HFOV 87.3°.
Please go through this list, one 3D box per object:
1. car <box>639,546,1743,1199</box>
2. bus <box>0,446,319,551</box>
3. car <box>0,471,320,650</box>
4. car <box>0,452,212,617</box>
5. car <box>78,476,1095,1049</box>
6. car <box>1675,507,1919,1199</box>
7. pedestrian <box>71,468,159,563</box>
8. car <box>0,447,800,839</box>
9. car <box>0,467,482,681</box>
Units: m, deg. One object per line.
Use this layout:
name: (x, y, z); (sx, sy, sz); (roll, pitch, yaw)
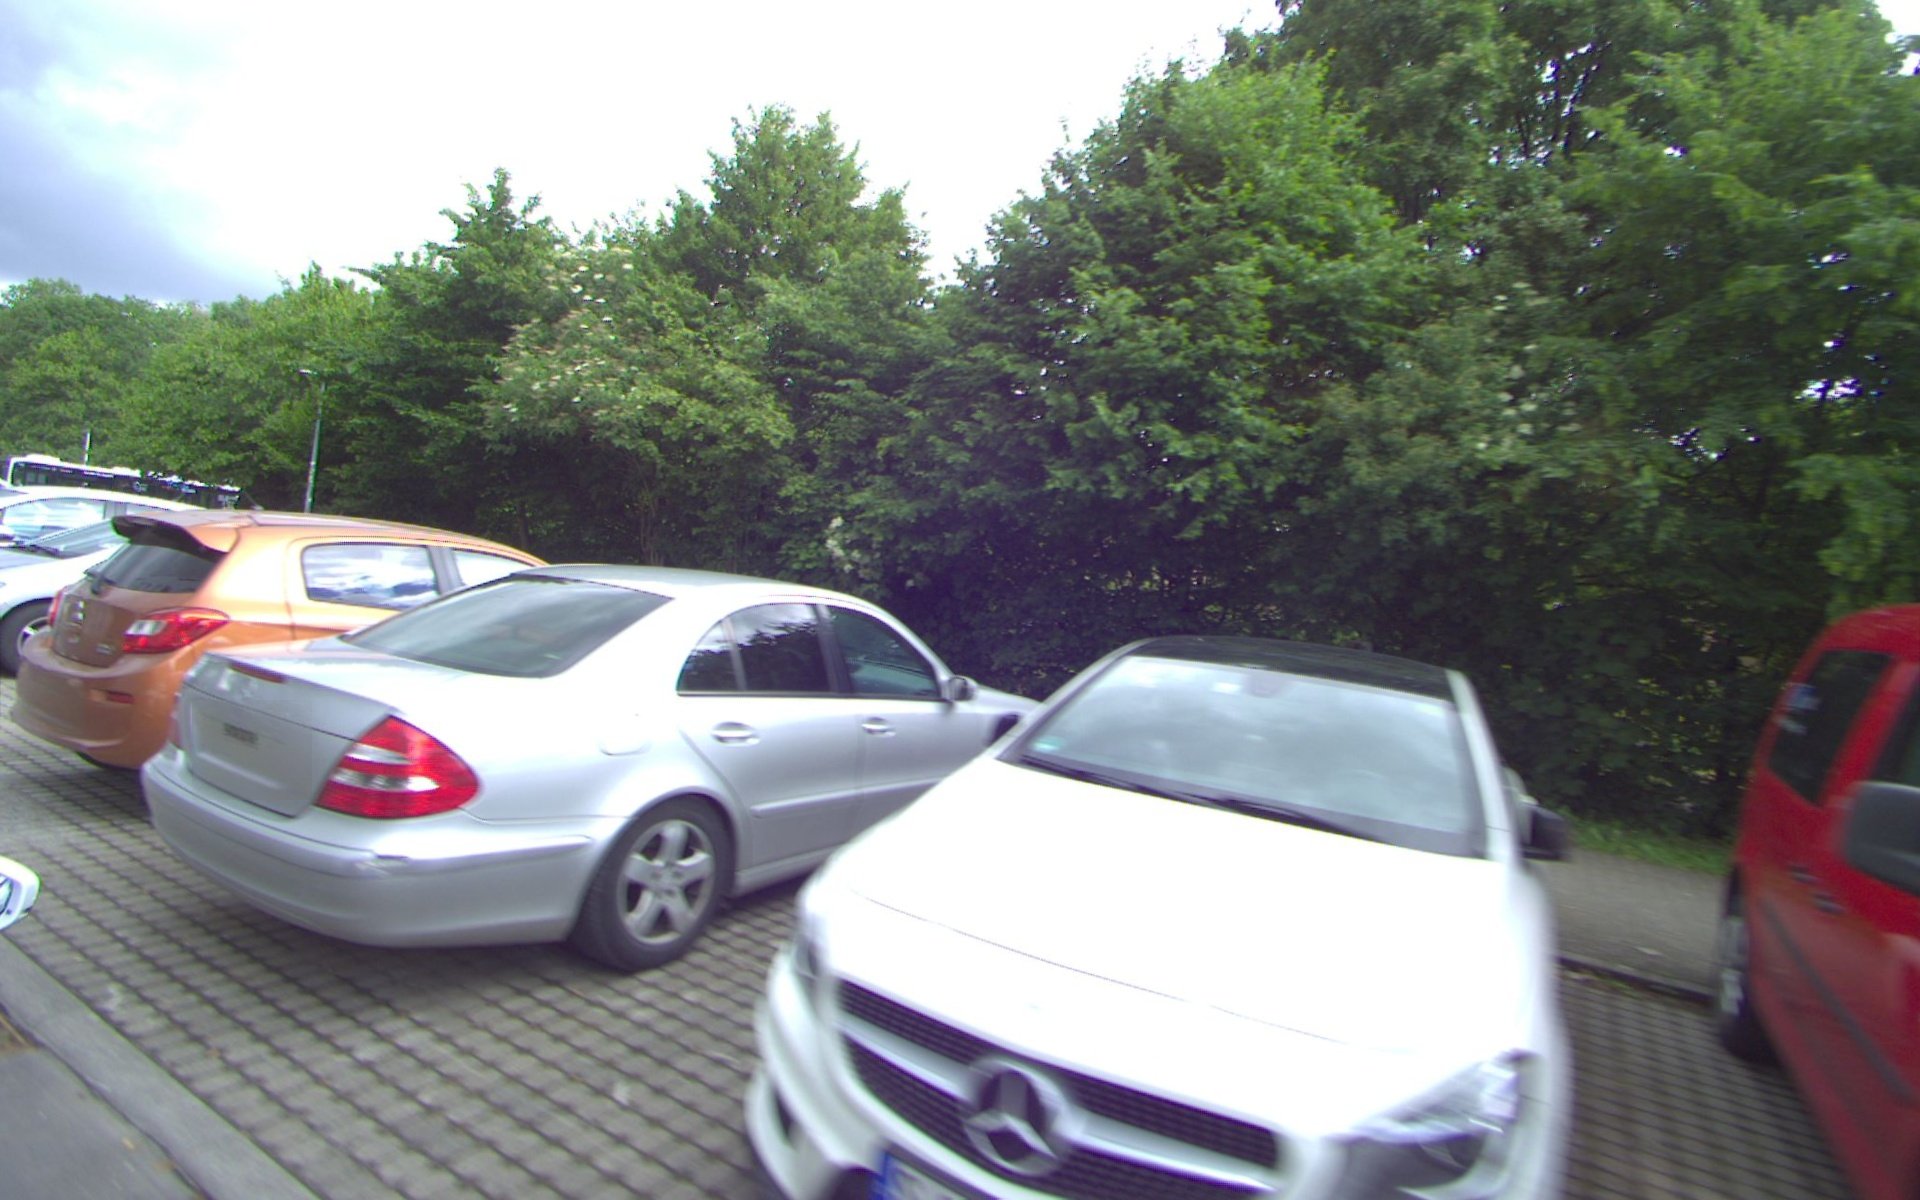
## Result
car: (1.187, 0.801, 3.621); (1.806, 1.427, 4.286); (7, 0, 29)
bus: (-39.406, -4.840, 50.175); (2.641, 3.242, 12.126); (7, 0, 45)
car: (-9.252, -0.430, 10.263); (1.765, 1.606, 4.161); (7, 0, 29)
car: (-11.611, -0.849, 11.316); (2.034, 1.775, 4.654); (7, 2, 27)
car: (-1.197, 0.498, 5.008); (1.912, 1.453, 4.399); (7, 0, 33)
car: (3.204, 0.847, 2.393); (1.806, 1.916, 4.286); (7, 1, 29)
pedestrian: (-17.998, -1.778, 21.447); (0.841, 1.844, 0.985); (6, 0, 7)
car: (-3.108, 0.240, 6.364); (1.650, 1.611, 4.149); (7, 1, 33)
car: (-7.099, -0.211, 9.326); (1.879, 1.582, 4.481); (7, 1, 29)
